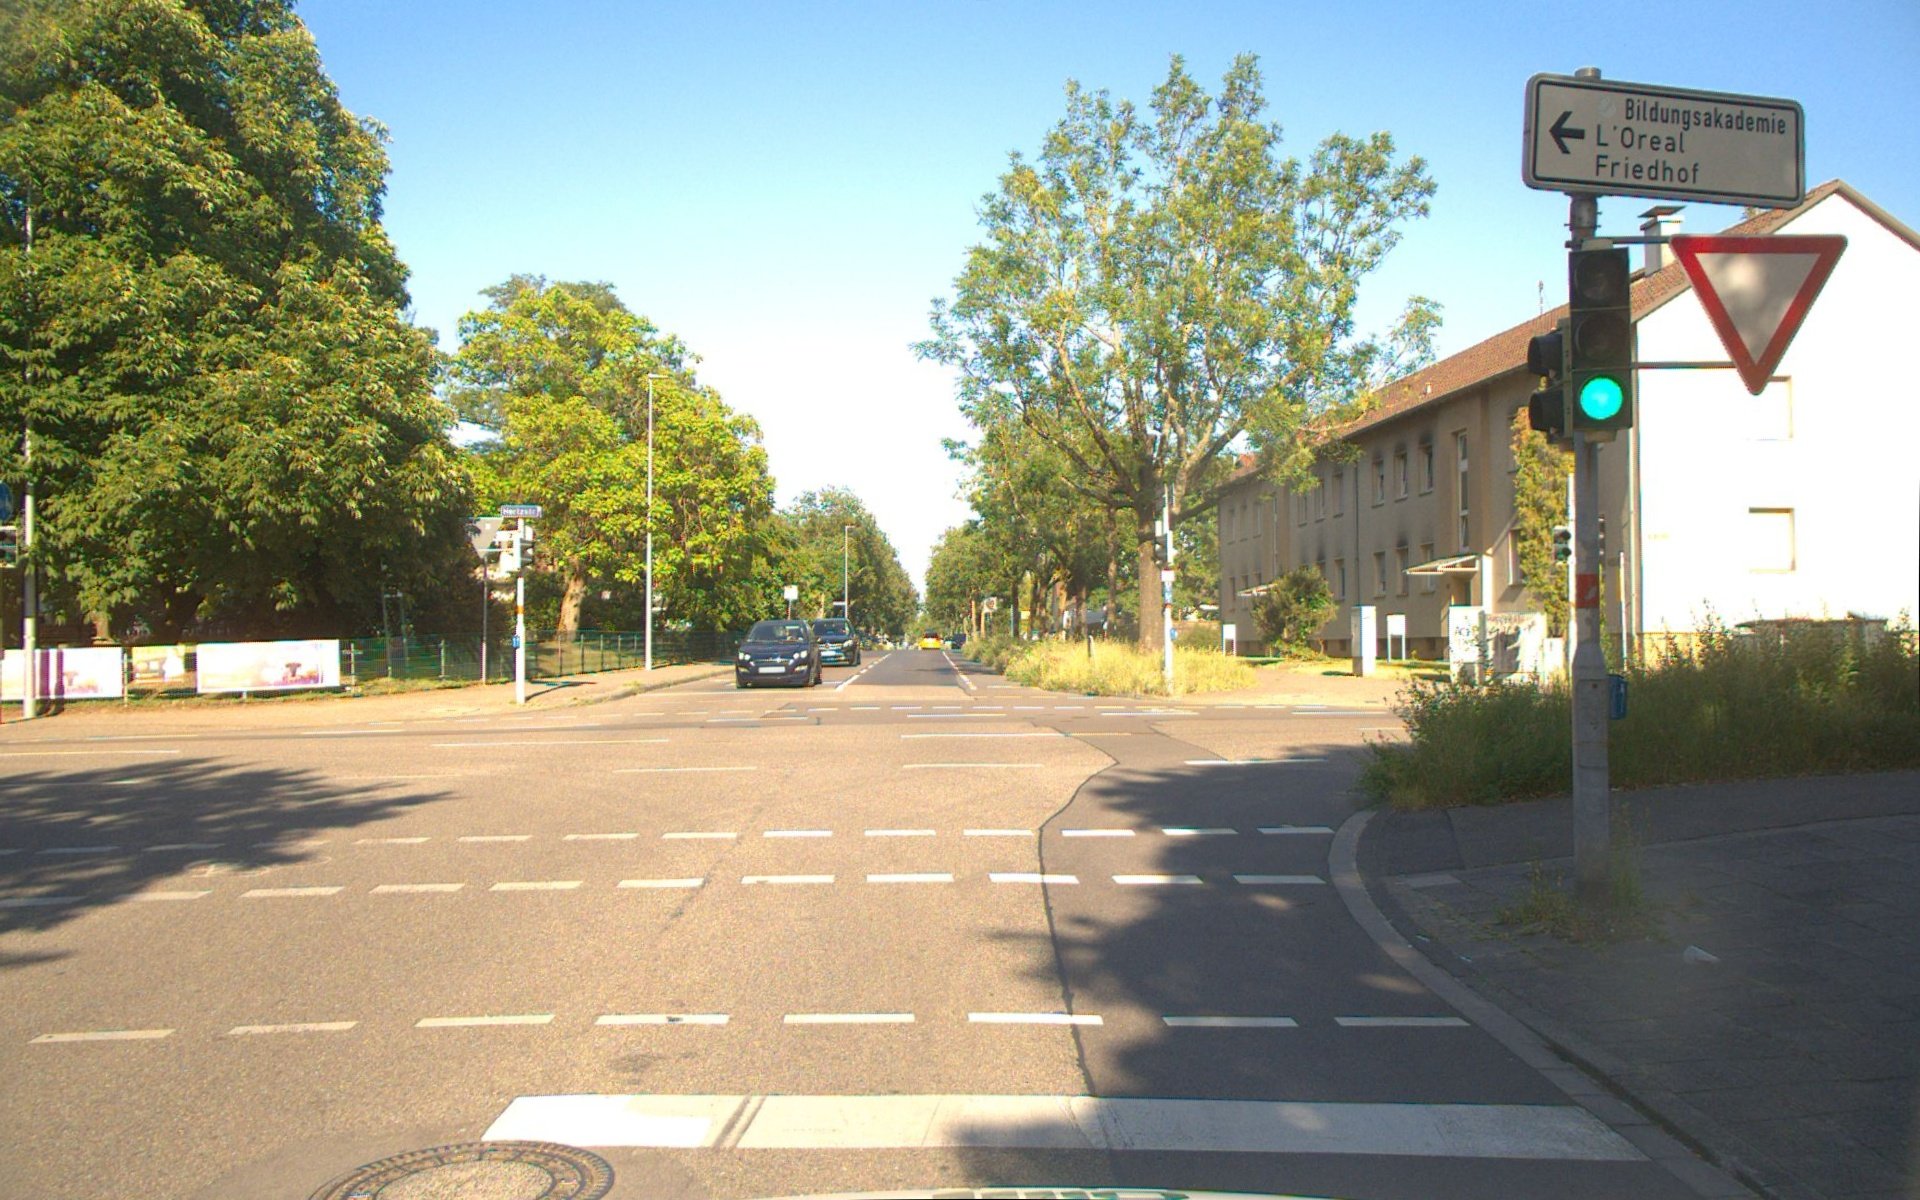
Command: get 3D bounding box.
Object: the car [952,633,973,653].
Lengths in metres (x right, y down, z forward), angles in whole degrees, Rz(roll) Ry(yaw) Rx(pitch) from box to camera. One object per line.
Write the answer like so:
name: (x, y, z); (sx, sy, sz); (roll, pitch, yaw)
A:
car: (0.228, 3.987, 153.041); (1.815, 1.654, 4.467); (-2, -2, -2)

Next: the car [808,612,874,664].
car: (-4.040, 1.274, 56.710); (1.777, 1.646, 4.393); (-2, -1, 2)

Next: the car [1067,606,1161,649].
car: (9.497, 1.688, 102.184); (5.486, 2.584, 2.263); (-1, -1, -5)

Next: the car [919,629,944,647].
car: (-2.407, 3.222, 139.882); (1.851, 1.505, 3.883); (2, -2, -5)

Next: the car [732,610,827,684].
car: (-3.915, 1.049, 36.448); (1.770, 1.480, 3.848); (-2, -2, -2)

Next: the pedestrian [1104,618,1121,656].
pedestrian: (7.130, 1.736, 77.288); (0.624, 1.735, 0.612); (-3, 0, -3)
